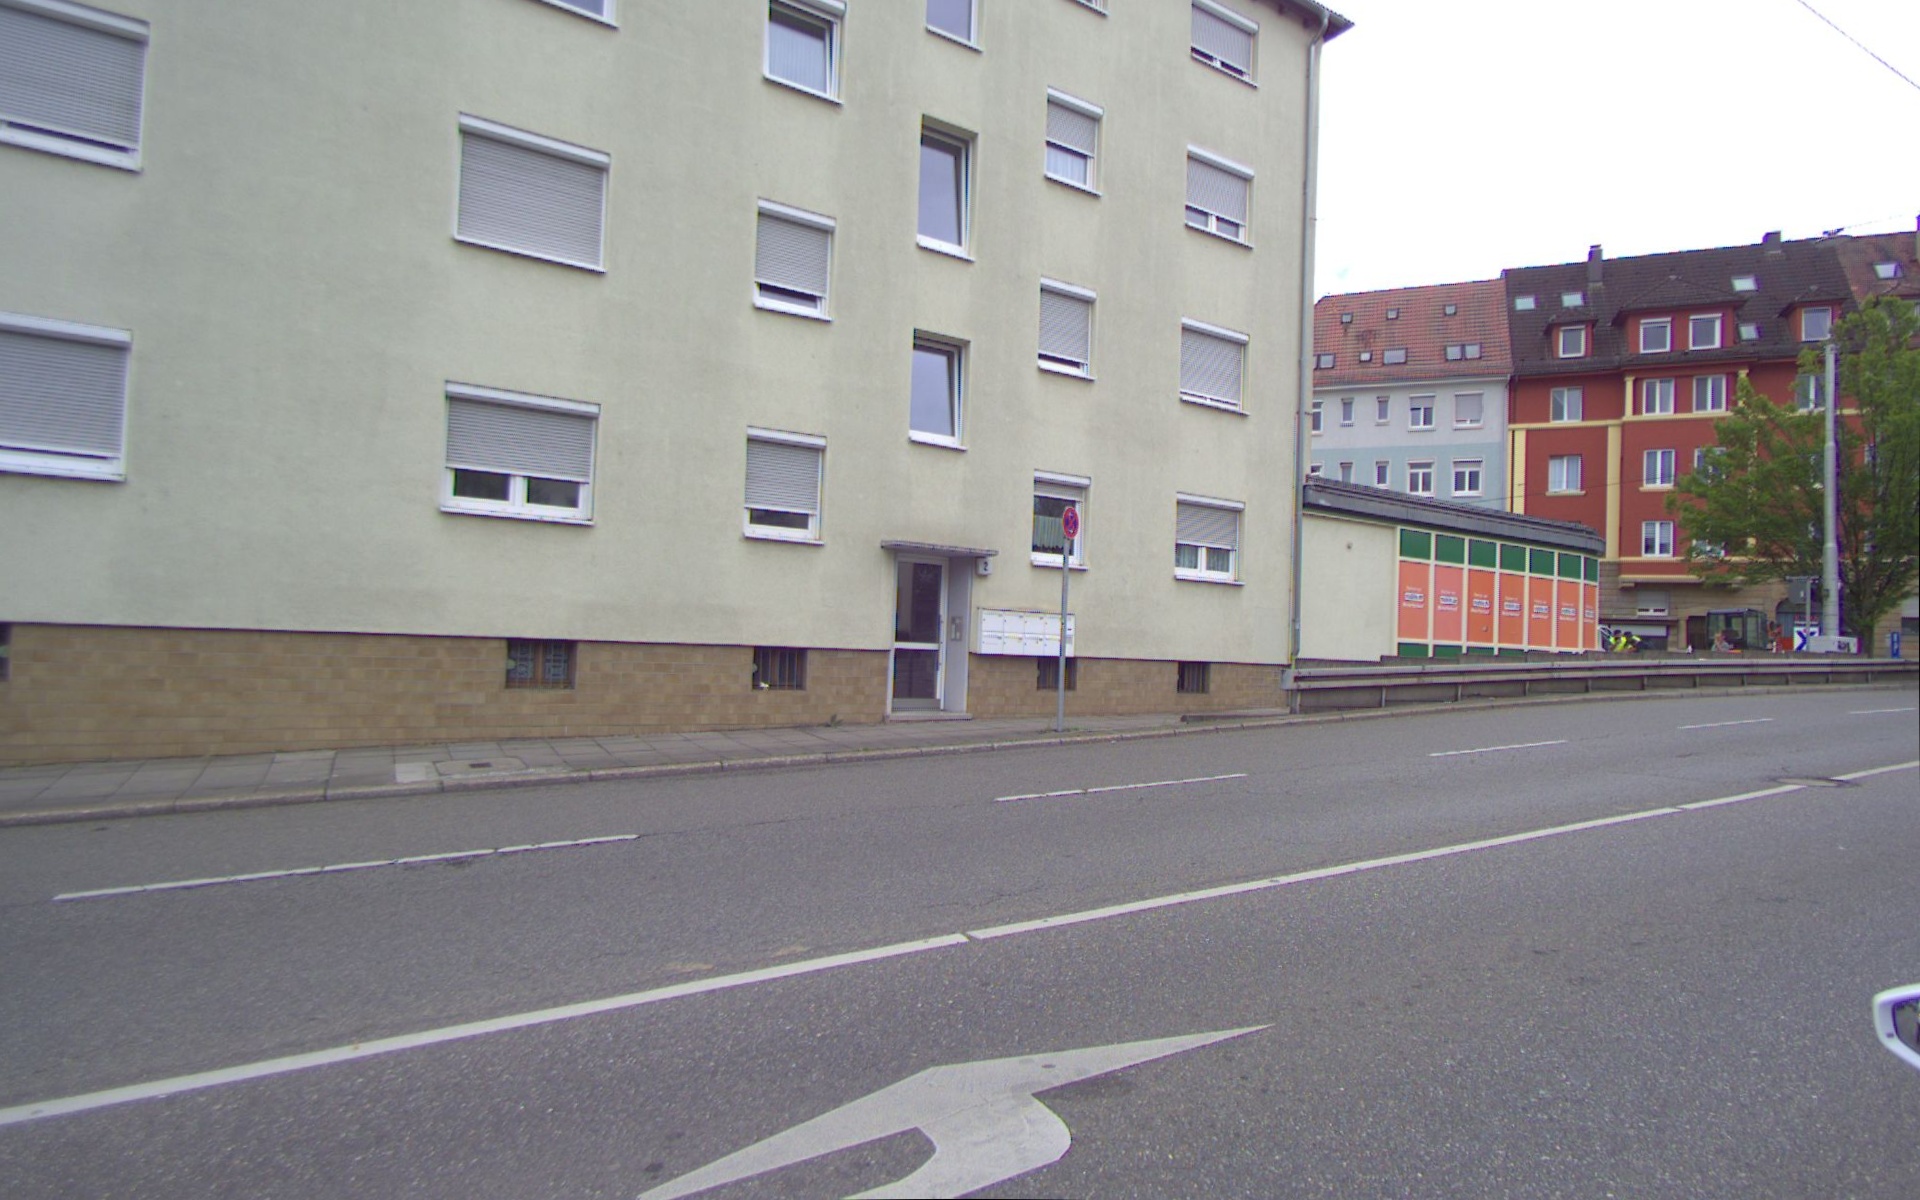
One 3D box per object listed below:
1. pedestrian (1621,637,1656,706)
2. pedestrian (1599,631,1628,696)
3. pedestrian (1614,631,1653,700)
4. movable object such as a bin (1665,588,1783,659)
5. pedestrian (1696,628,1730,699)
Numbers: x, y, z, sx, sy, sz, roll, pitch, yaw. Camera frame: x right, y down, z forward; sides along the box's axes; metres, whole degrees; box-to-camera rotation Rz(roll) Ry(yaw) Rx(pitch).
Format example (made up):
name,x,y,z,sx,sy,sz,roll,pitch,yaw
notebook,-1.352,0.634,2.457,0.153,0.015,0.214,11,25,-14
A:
name,x,y,z,sx,sy,sz,roll,pitch,yaw
pedestrian,17.474,1.837,25.861,0.539,1.722,0.558,1,1,-40
pedestrian,18.313,1.767,28.148,0.467,1.753,0.543,2,1,16
pedestrian,18.169,1.759,27.105,0.605,1.785,0.573,2,1,6
movable object such as a bin,21.258,0.628,27.902,3.971,1.795,1.884,2,1,-42
pedestrian,19.171,1.601,25.588,0.533,1.753,0.593,2,1,27
